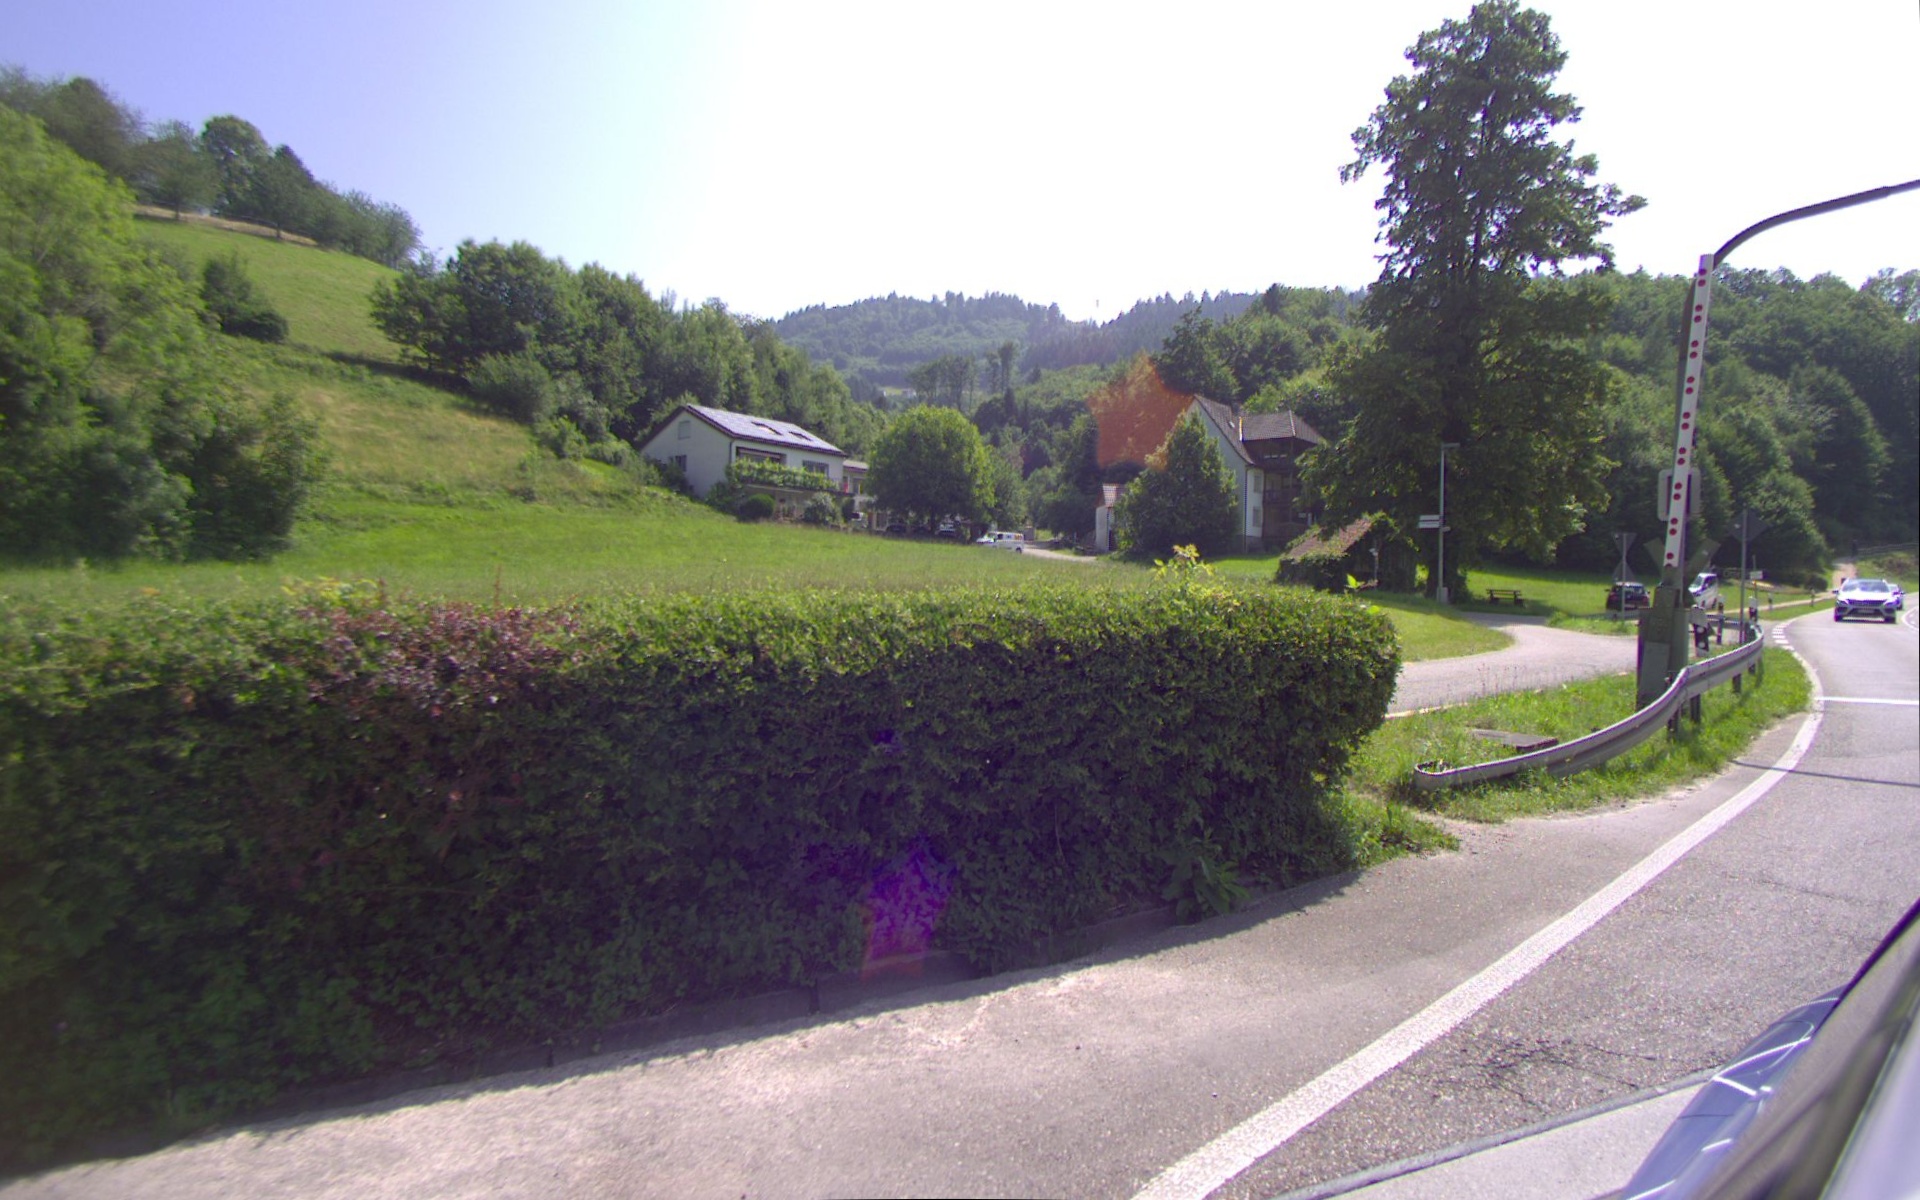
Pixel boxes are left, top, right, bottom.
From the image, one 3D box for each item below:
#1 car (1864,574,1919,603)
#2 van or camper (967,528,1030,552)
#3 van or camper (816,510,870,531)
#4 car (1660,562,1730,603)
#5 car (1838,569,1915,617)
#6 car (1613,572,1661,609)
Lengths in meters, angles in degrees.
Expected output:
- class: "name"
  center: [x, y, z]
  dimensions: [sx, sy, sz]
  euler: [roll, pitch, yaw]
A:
- class: "car"
  center: [53.981, -0.710, 58.584]
  dimensions: [4.596, 1.508, 2.143]
  euler: [-2, 4, -44]
- class: "van or camper"
  center: [3.472, -5.365, 90.565]
  dimensions: [5.348, 1.973, 2.812]
  euler: [-1, 3, -45]
- class: "van or camper"
  center: [-10.499, -7.101, 91.091]
  dimensions: [2.020, 1.661, 4.983]
  euler: [2, 3, 36]
- class: "car"
  center: [38.404, -0.944, 52.859]
  dimensions: [4.789, 1.869, 2.003]
  euler: [-2, 8, -44]
- class: "car"
  center: [38.283, -0.346, 42.362]
  dimensions: [2.110, 1.836, 4.393]
  euler: [3, 3, 39]
- class: "car"
  center: [31.816, -0.480, 47.609]
  dimensions: [1.667, 1.474, 3.675]
  euler: [4, 5, 32]
